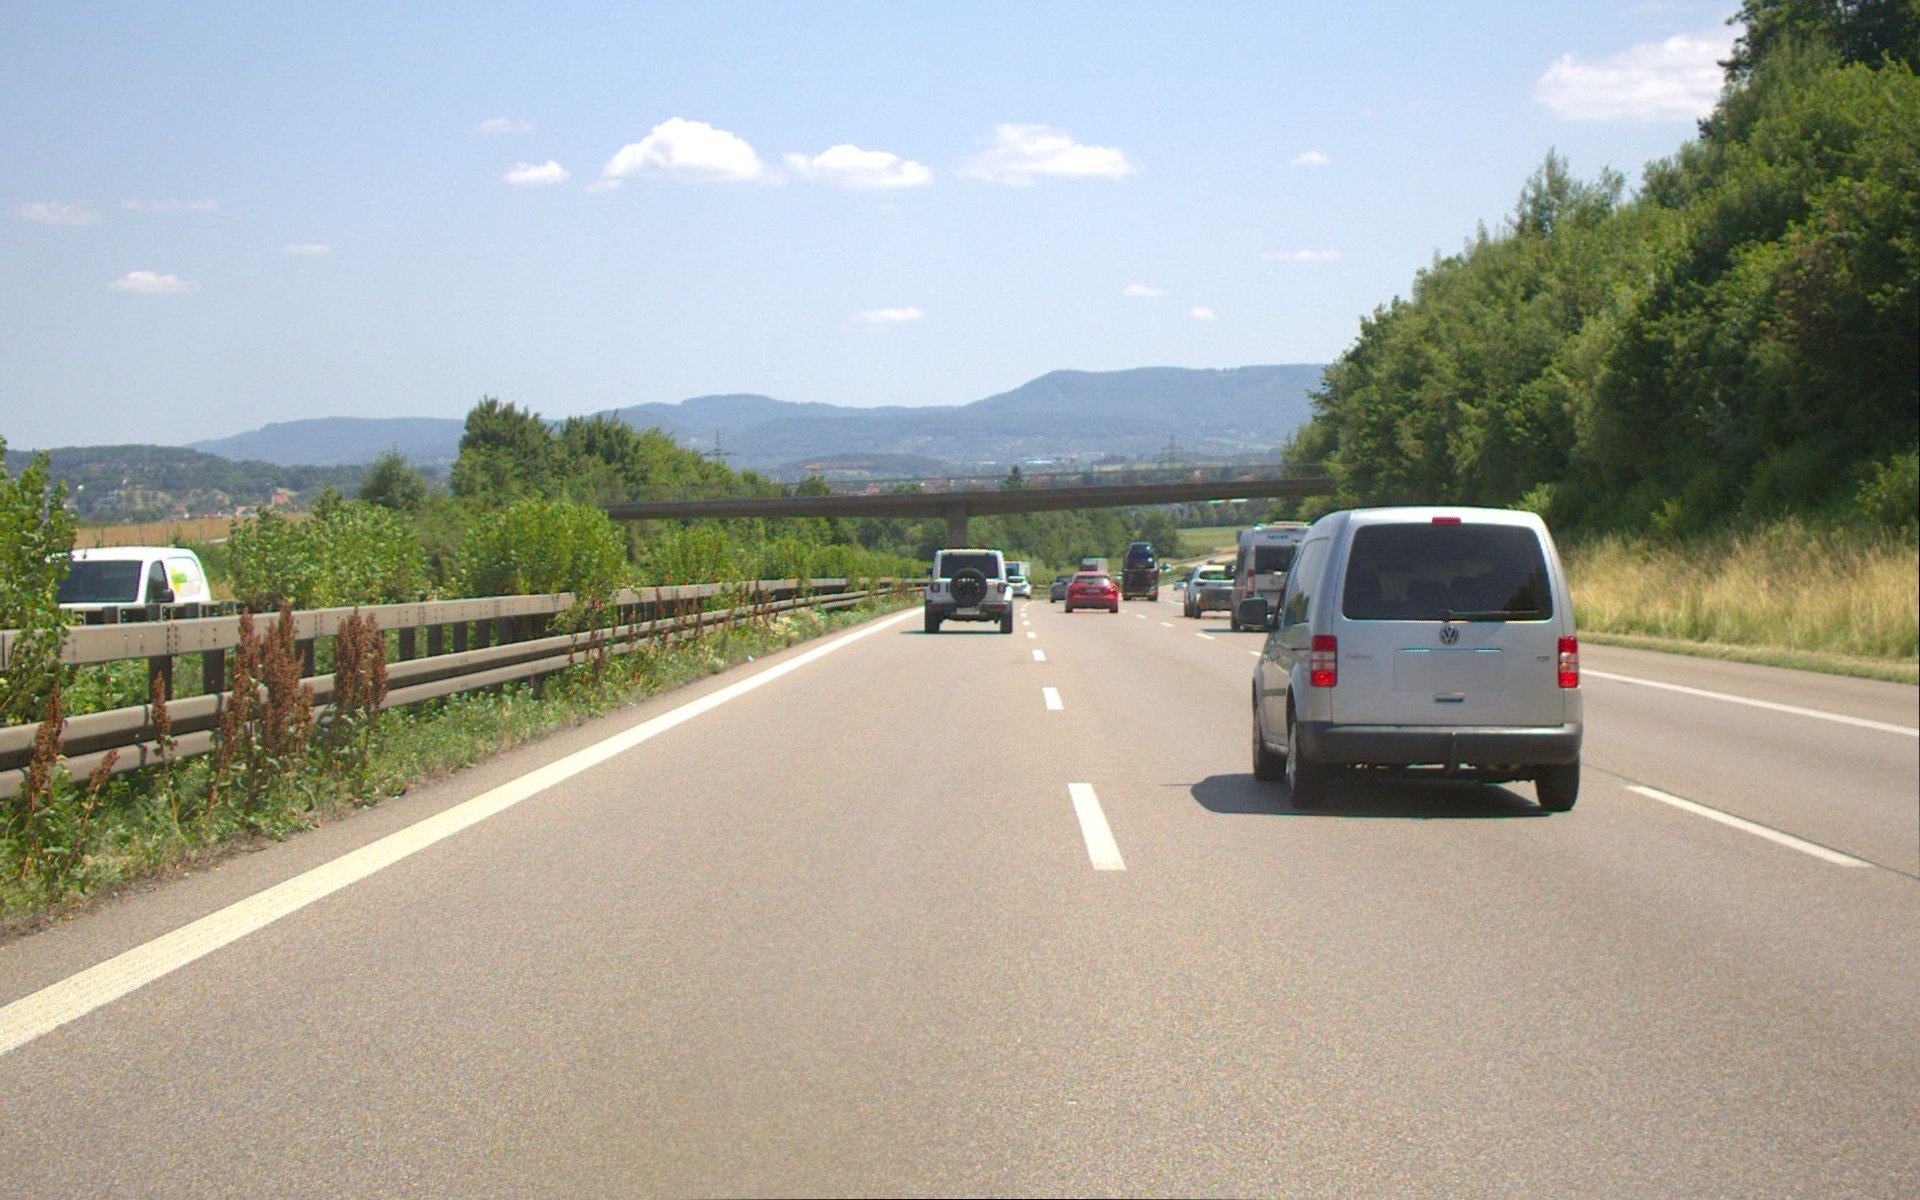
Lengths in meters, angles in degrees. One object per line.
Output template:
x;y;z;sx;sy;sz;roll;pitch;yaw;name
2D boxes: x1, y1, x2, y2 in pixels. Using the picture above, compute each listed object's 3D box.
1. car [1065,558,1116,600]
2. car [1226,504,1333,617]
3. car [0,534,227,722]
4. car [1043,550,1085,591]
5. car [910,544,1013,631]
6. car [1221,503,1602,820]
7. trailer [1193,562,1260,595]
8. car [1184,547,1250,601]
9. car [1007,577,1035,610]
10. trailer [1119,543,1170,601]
4.496;-0.730;118.844;1.686;1.374;3.949;1;1;1;car
7.563;-0.977;81.999;2.089;2.567;6.622;1;1;2;car
-10.093;0.250;40.197;1.905;2.007;5.366;1;1;0;car
5.203;-1.490;172.451;1.993;2.007;4.000;1;1;1;car
0.076;-0.317;76.814;2.083;1.823;4.753;1;1;2;car
2.805;0.305;22.358;1.745;1.823;4.801;1;1;-1;car
8.203;-0.674;106.138;1.754;0.905;4.320;1;1;0;trailer
8.246;-0.853;110.491;1.781;1.645;4.403;1;1;0;car
3.911;-0.434;220.550;1.698;2.007;3.822;1;1;2;car
13.522;-2.107;250.712;2.856;3.979;15.393;1;1;6;trailer
